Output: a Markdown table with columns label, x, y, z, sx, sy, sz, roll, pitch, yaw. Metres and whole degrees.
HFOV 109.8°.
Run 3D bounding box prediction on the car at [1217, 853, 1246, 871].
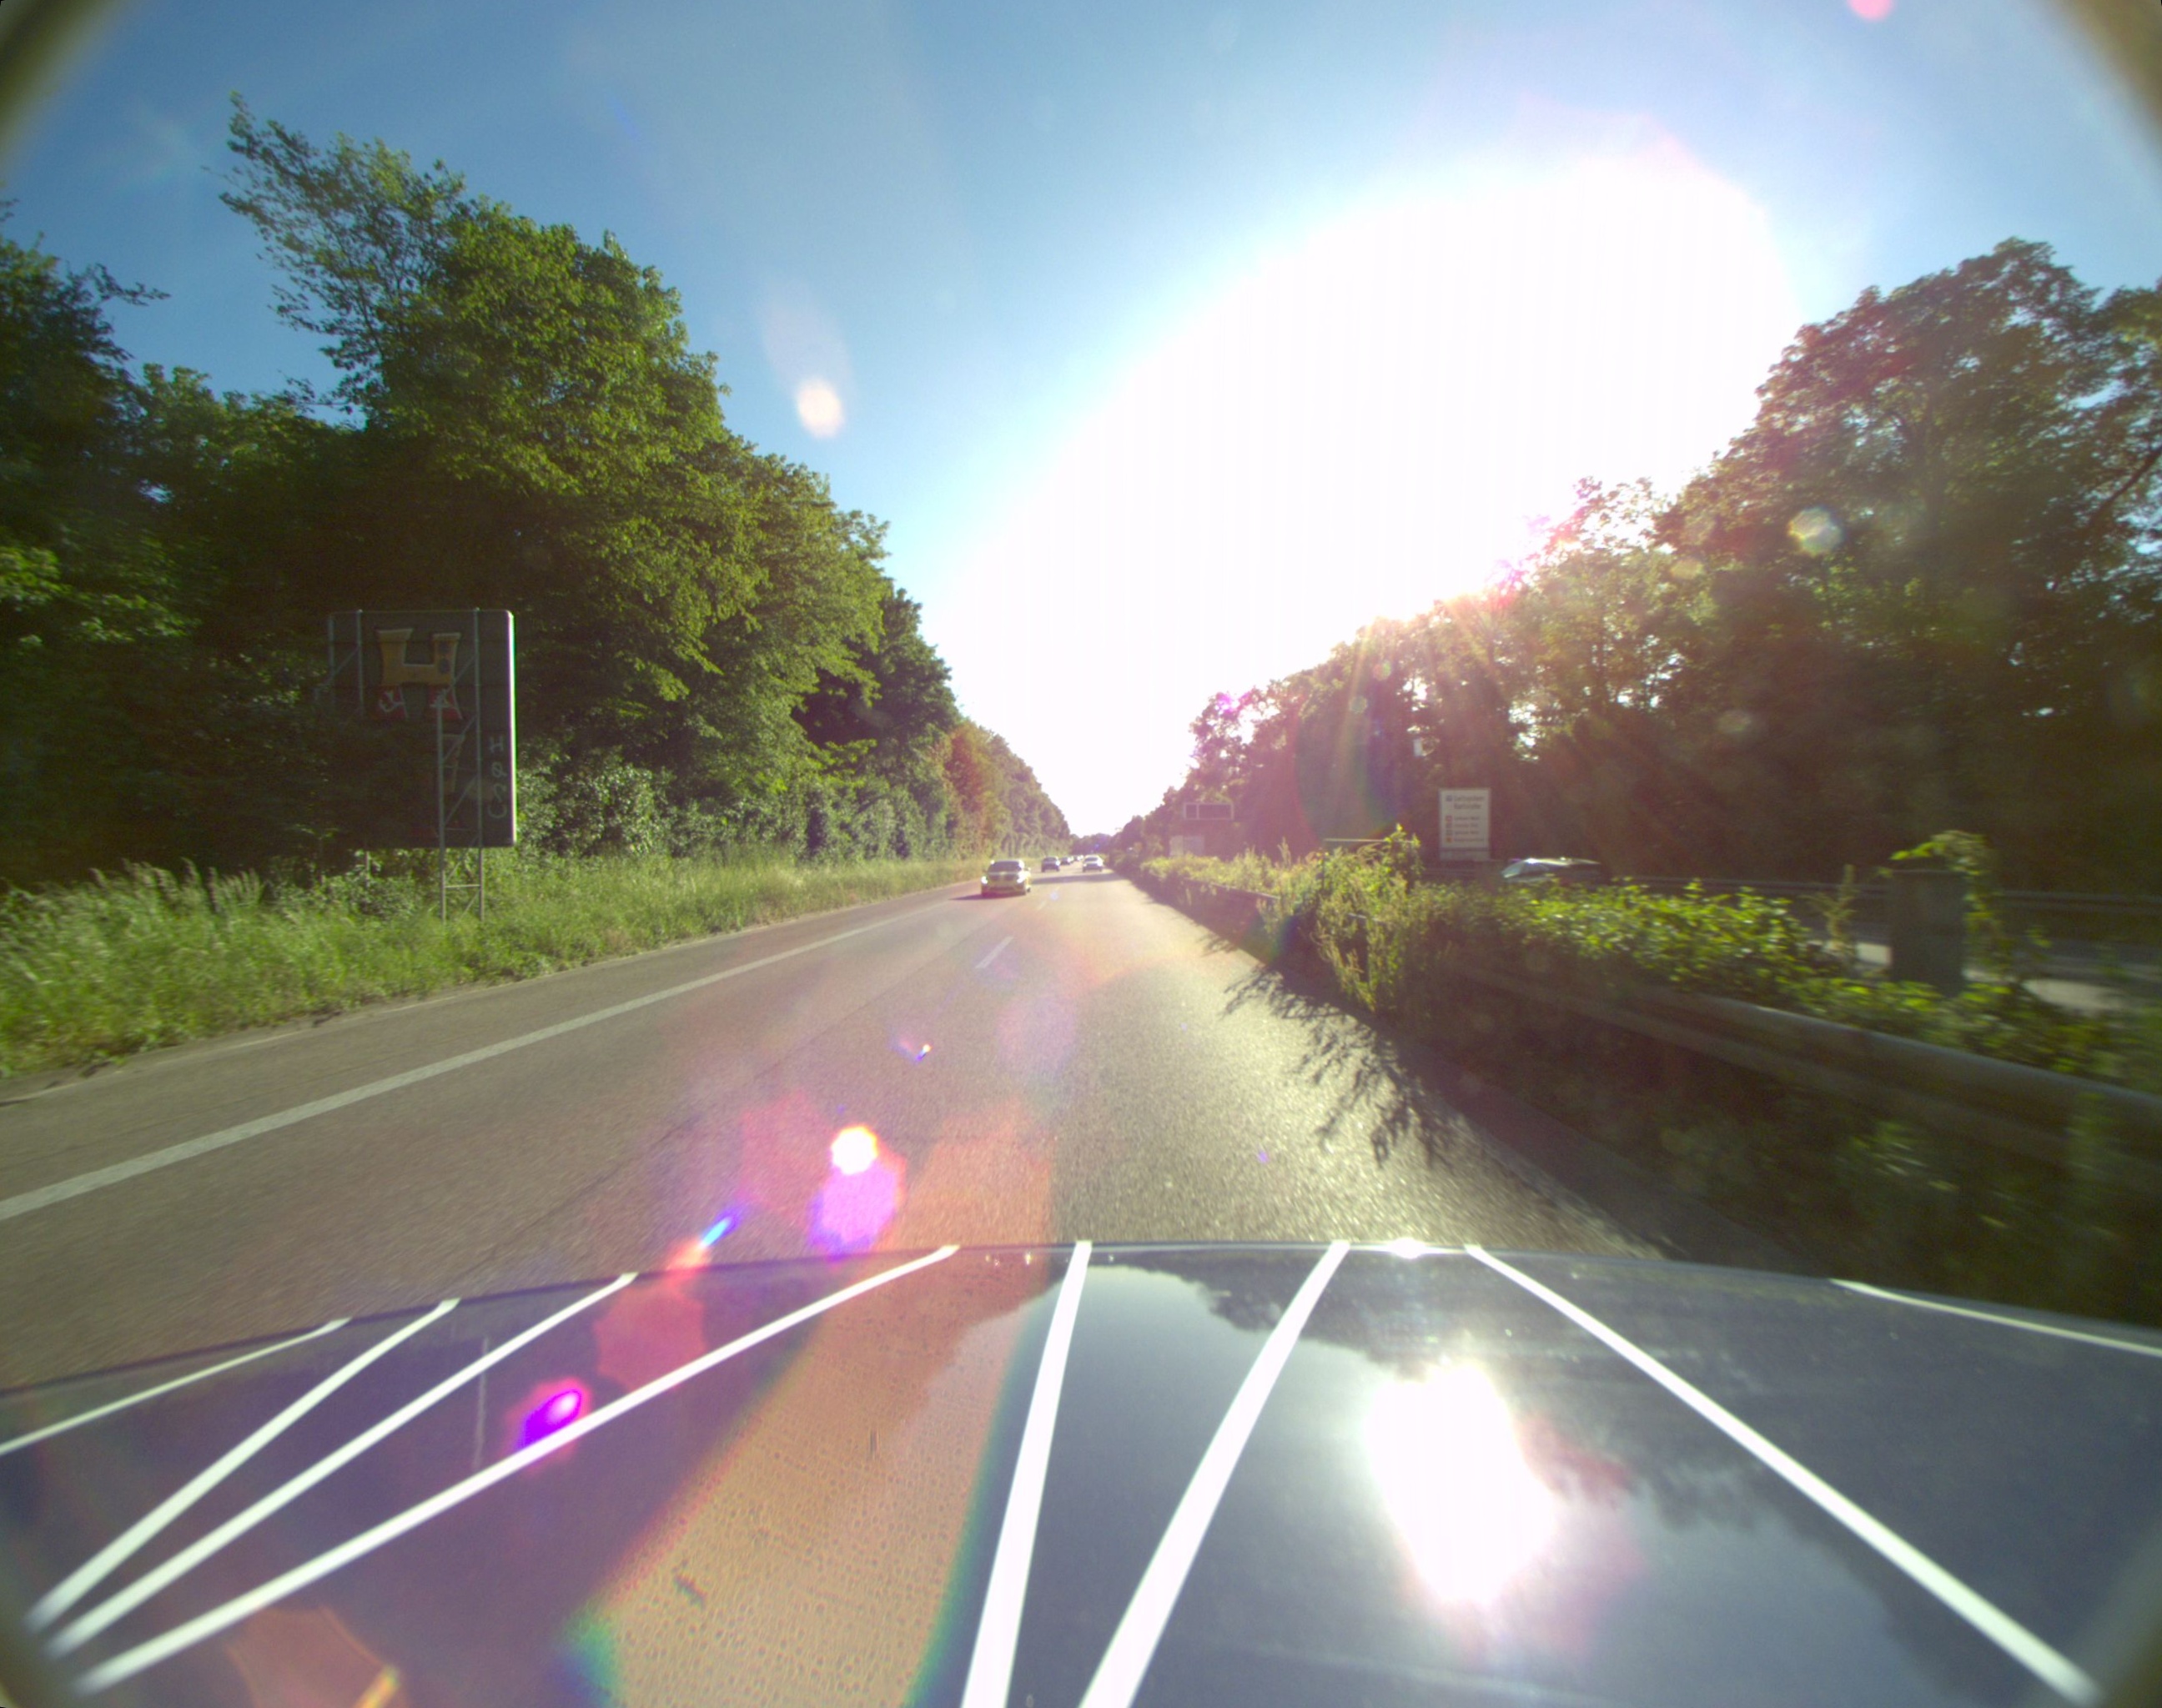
| label | x | y | z | sx | sy | sz | roll | pitch | yaw |
| --- | --- | --- | --- | --- | --- | --- | --- | --- | --- |
| car | 13.229 | 0.657 | 66.856 | 1.768 | 1.464 | 3.792 | -2 | 1 | 1 |

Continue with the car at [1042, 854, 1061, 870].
| label | x | y | z | sx | sy | sz | roll | pitch | yaw |
| --- | --- | --- | --- | --- | --- | --- | --- | --- | --- |
| car | -2.956 | 0.803 | 76.981 | 1.794 | 1.440 | 3.877 | -2 | 0 | 0 |

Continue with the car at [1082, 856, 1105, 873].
| label | x | y | z | sx | sy | sz | roll | pitch | yaw |
| --- | --- | --- | --- | --- | --- | --- | --- | --- | --- |
| car | 1.134 | 0.925 | 68.647 | 1.890 | 1.440 | 3.878 | -2 | 0 | 1 |

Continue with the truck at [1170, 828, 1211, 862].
| label | x | y | z | sx | sy | sz | roll | pitch | yaw |
| --- | --- | --- | --- | --- | --- | --- | --- | --- | --- |
| truck | 13.852 | -1.055 | 97.197 | 3.251 | 3.989 | 14.451 | -2 | 0 | 1 |

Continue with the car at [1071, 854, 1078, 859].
| label | x | y | z | sx | sy | sz | roll | pitch | yaw |
| --- | --- | --- | --- | --- | --- | --- | --- | --- | --- |
| car | -1.586 | 0.686 | 200.412 | 1.794 | 1.440 | 3.877 | -2 | 0 | 0 |

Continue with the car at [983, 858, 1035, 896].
| label | x | y | z | sx | sy | sz | roll | pitch | yaw |
| --- | --- | --- | --- | --- | --- | --- | --- | --- | --- |
| car | -2.995 | 0.929 | 32.220 | 1.794 | 1.440 | 3.877 | -2 | 0 | 0 |

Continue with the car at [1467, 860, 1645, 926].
| label | x | y | z | sx | sy | sz | roll | pitch | yaw |
| --- | --- | --- | --- | --- | --- | --- | --- | --- | --- |
| car | 12.468 | 0.946 | 20.368 | 1.998 | 1.415 | 4.509 | -2 | 1 | 1 |

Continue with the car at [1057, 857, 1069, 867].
| label | x | y | z | sx | sy | sz | roll | pitch | yaw |
| --- | --- | --- | --- | --- | --- | --- | --- | --- | --- |
| car | -2.858 | 1.304 | 122.917 | 1.794 | 1.440 | 3.877 | -2 | 0 | 0 |

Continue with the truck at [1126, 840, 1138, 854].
| label | x | y | z | sx | sy | sz | roll | pitch | yaw |
| --- | --- | --- | --- | --- | --- | --- | --- | --- | --- |
| truck | 14.401 | -1.951 | 216.557 | 2.776 | 3.932 | 11.466 | -2 | 1 | 1 |
